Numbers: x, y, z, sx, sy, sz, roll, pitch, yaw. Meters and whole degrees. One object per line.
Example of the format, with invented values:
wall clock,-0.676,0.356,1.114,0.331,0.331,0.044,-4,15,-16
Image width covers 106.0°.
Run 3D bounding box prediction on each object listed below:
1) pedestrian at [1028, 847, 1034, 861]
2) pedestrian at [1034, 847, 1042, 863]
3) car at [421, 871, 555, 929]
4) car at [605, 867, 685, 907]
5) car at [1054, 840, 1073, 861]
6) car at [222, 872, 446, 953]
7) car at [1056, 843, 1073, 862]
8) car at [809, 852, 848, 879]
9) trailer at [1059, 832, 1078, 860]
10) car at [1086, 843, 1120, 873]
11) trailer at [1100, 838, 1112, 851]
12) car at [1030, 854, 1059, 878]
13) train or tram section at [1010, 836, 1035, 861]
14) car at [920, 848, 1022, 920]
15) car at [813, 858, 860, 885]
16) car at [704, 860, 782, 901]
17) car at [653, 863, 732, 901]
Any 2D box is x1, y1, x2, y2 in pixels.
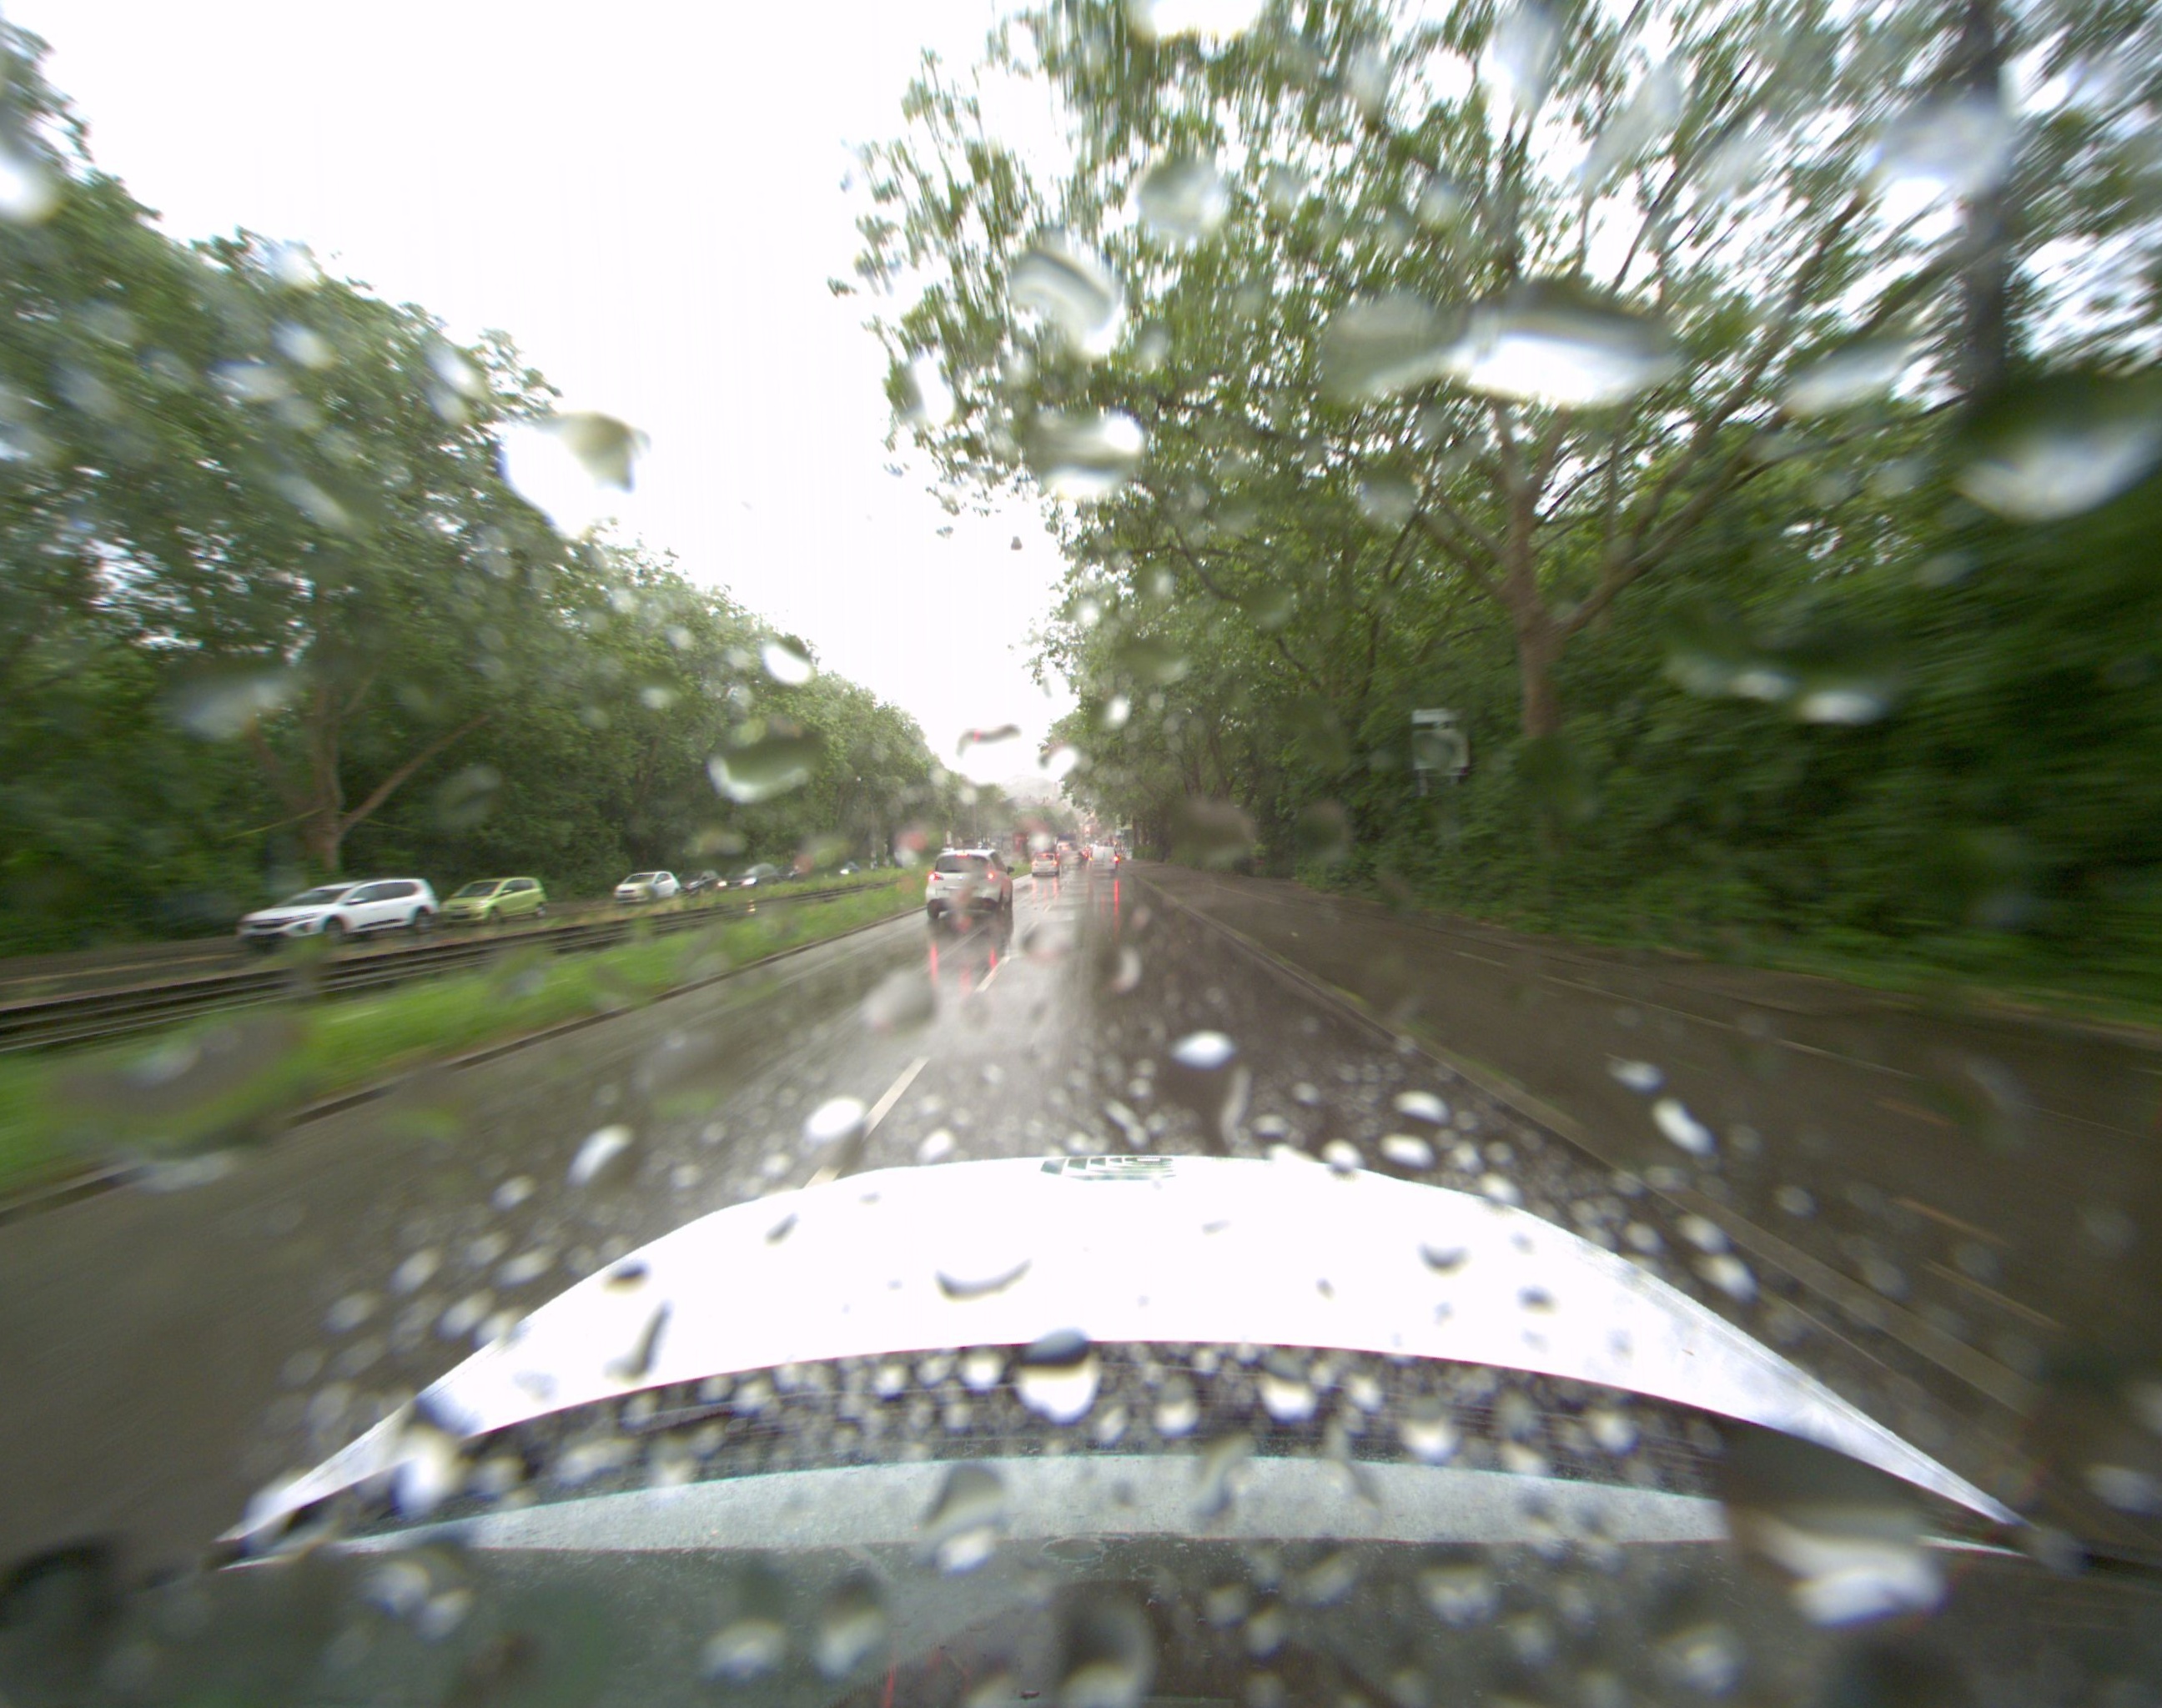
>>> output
pedestrian,-6.471,0.033,105.336,0.713,1.744,0.750,-2,0,-1
pedestrian,-4.791,0.120,91.173,0.788,1.714,0.770,0,-1,-1
car,-19.879,1.476,27.518,1.757,1.648,3.810,-3,0,-2
car,-20.594,1.530,38.623,1.757,1.648,3.810,-3,0,-2
car,-2.250,-0.410,106.884,2.322,2.557,6.113,-1,-1,0
car,-19.390,1.430,21.486,1.746,1.728,4.528,-3,0,-2
car,-1.960,-0.149,98.445,1.987,2.262,5.288,-1,-1,0
car,-21.464,0.960,69.498,2.028,2.092,4.797,-3,0,-4
trailer,-1.837,-1.128,116.048,2.583,3.899,7.632,-1,0,-1
car,1.305,0.252,49.574,1.953,1.777,3.569,-1,-1,0
trailer,4.722,-1.688,153.958,1.988,2.317,4.664,-1,-1,-2
car,-2.370,0.793,53.484,1.720,1.479,3.804,-1,-1,0
train or tram section,-8.173,-0.819,114.604,2.953,3.285,8.357,-3,1,-1
car,-2.692,0.691,20.906,1.857,1.623,4.265,-1,0,2
car,-17.761,1.261,59.420,2.026,1.751,4.690,-3,0,-2
car,-16.246,1.223,39.347,2.026,1.751,4.256,-3,0,-2
car,-20.712,1.449,43.645,2.026,1.751,4.690,-3,0,-2
